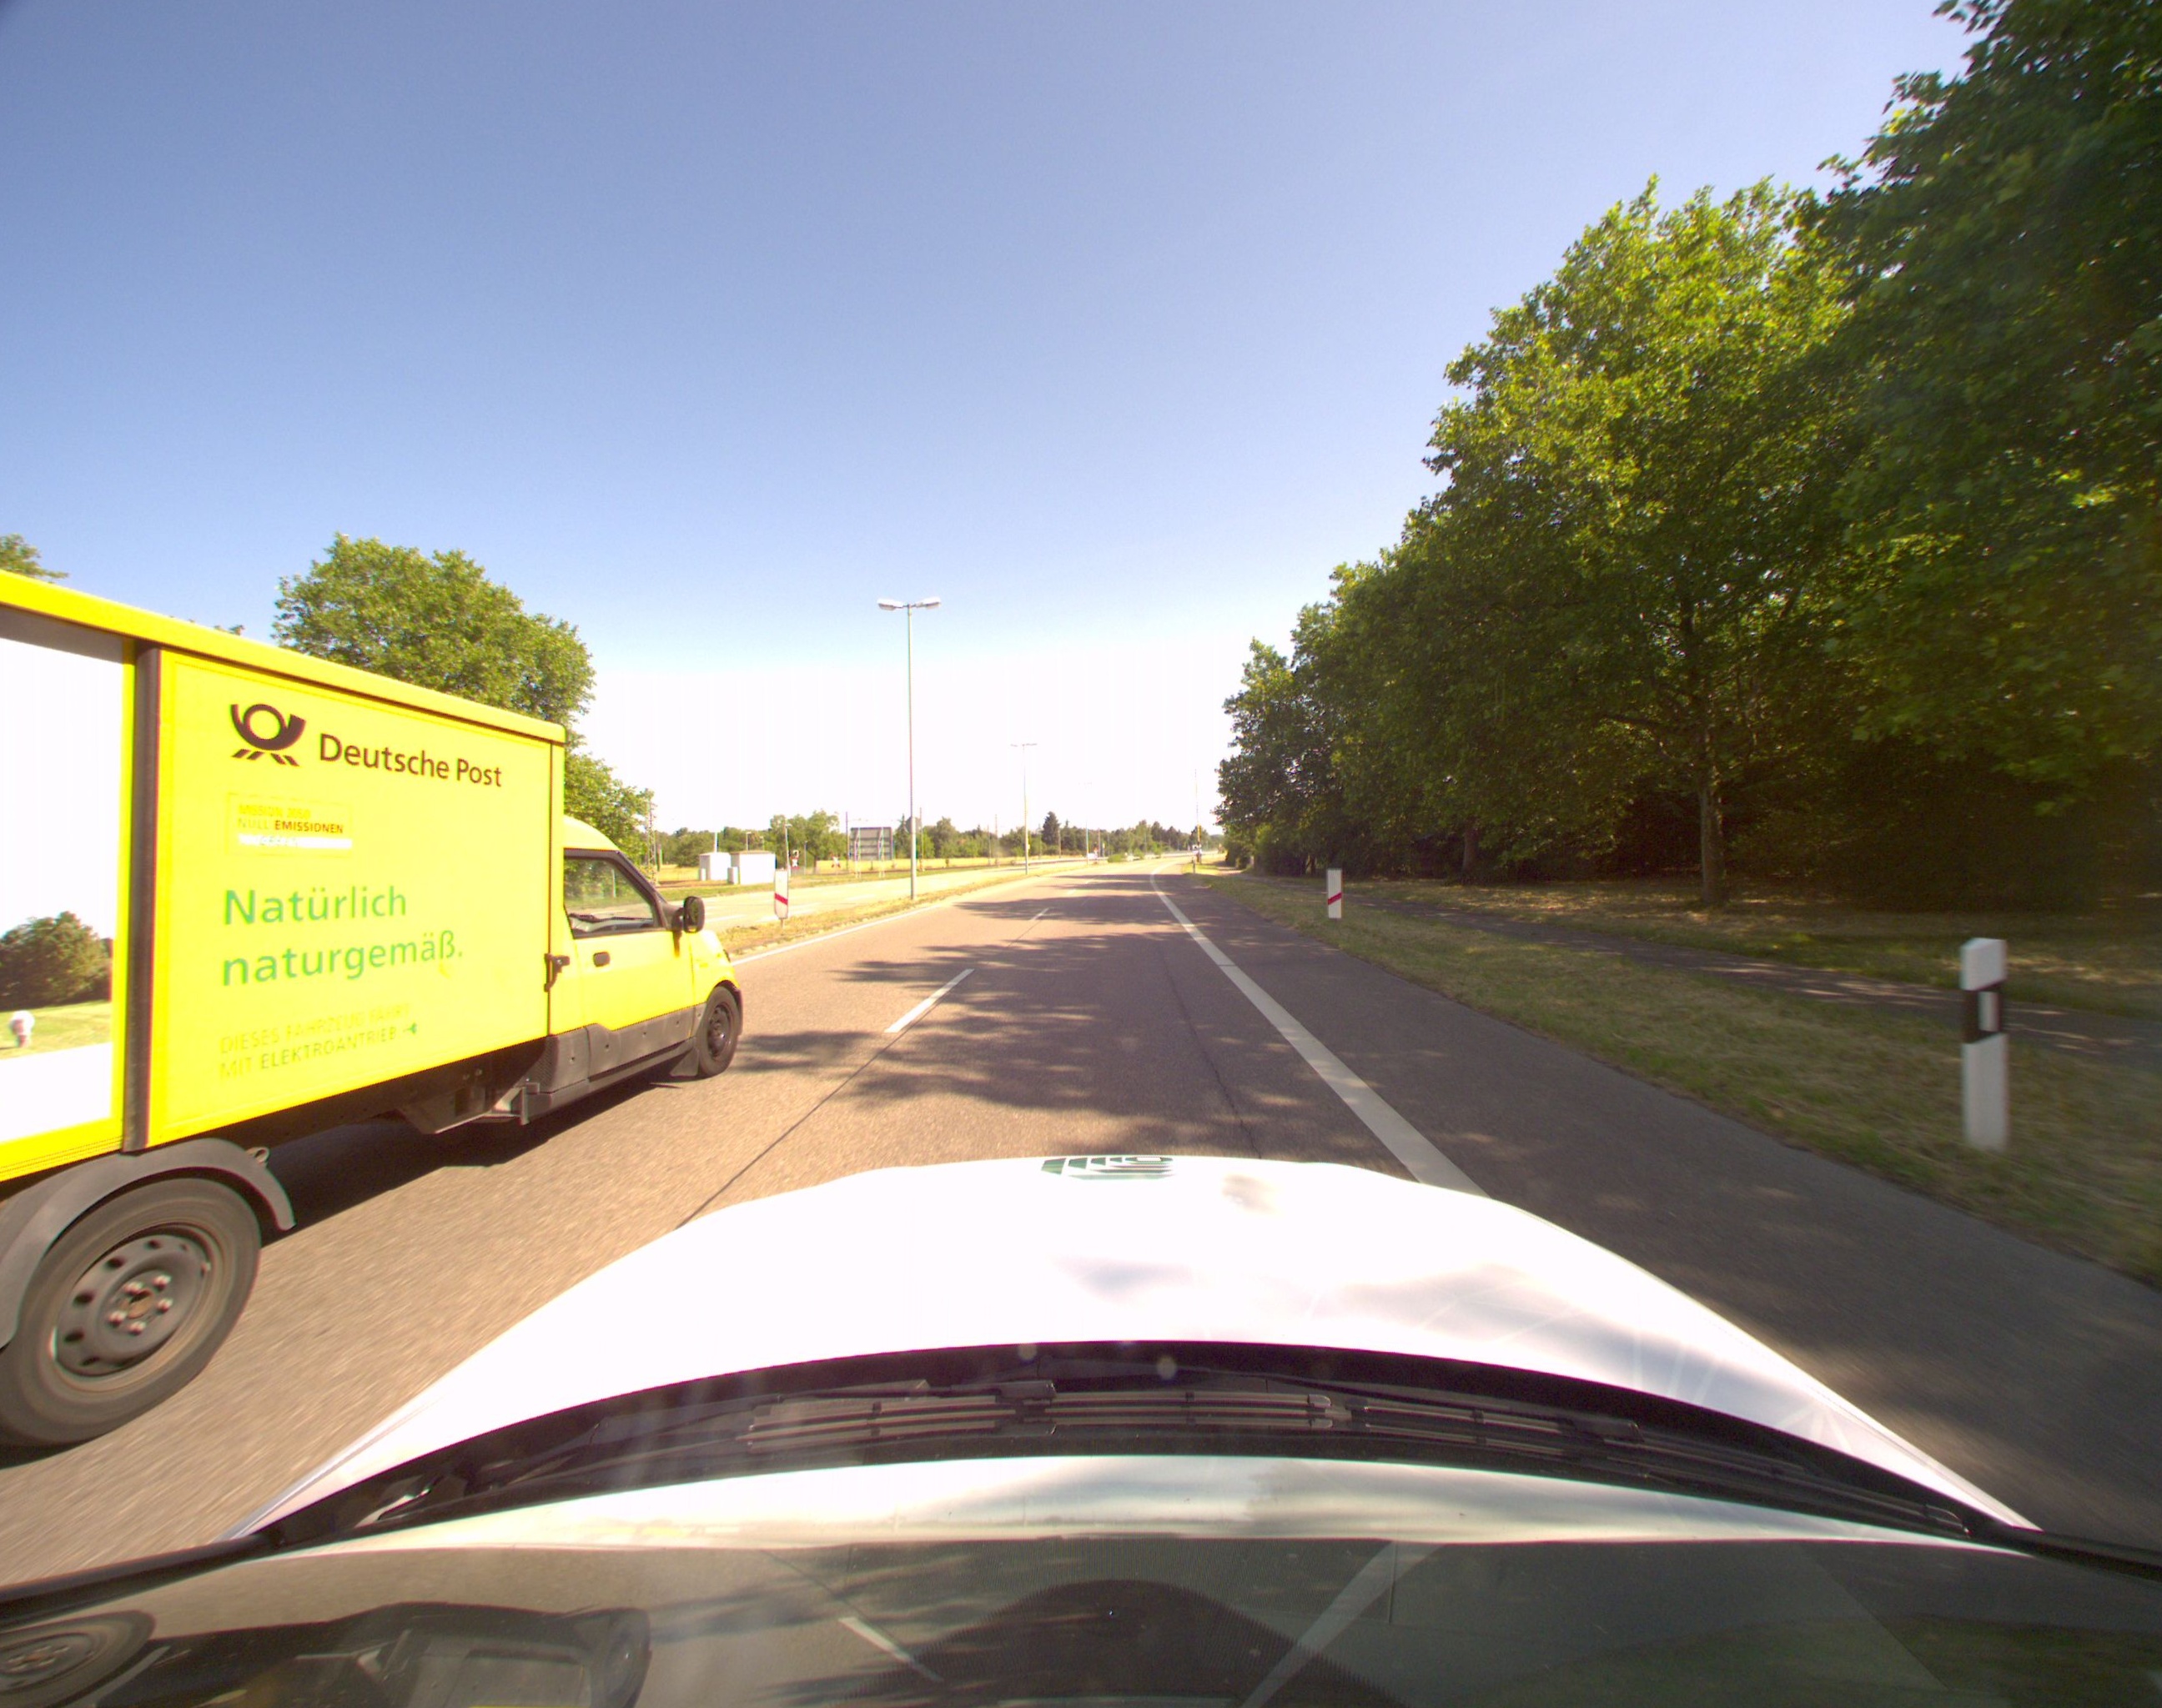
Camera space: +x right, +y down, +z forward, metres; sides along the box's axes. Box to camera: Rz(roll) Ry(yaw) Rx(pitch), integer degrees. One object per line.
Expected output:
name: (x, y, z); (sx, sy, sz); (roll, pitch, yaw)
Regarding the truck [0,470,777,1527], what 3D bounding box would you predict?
truck: (-3.548, 0.342, 3.561); (2.104, 2.457, 5.917); (-1, 0, 1)
